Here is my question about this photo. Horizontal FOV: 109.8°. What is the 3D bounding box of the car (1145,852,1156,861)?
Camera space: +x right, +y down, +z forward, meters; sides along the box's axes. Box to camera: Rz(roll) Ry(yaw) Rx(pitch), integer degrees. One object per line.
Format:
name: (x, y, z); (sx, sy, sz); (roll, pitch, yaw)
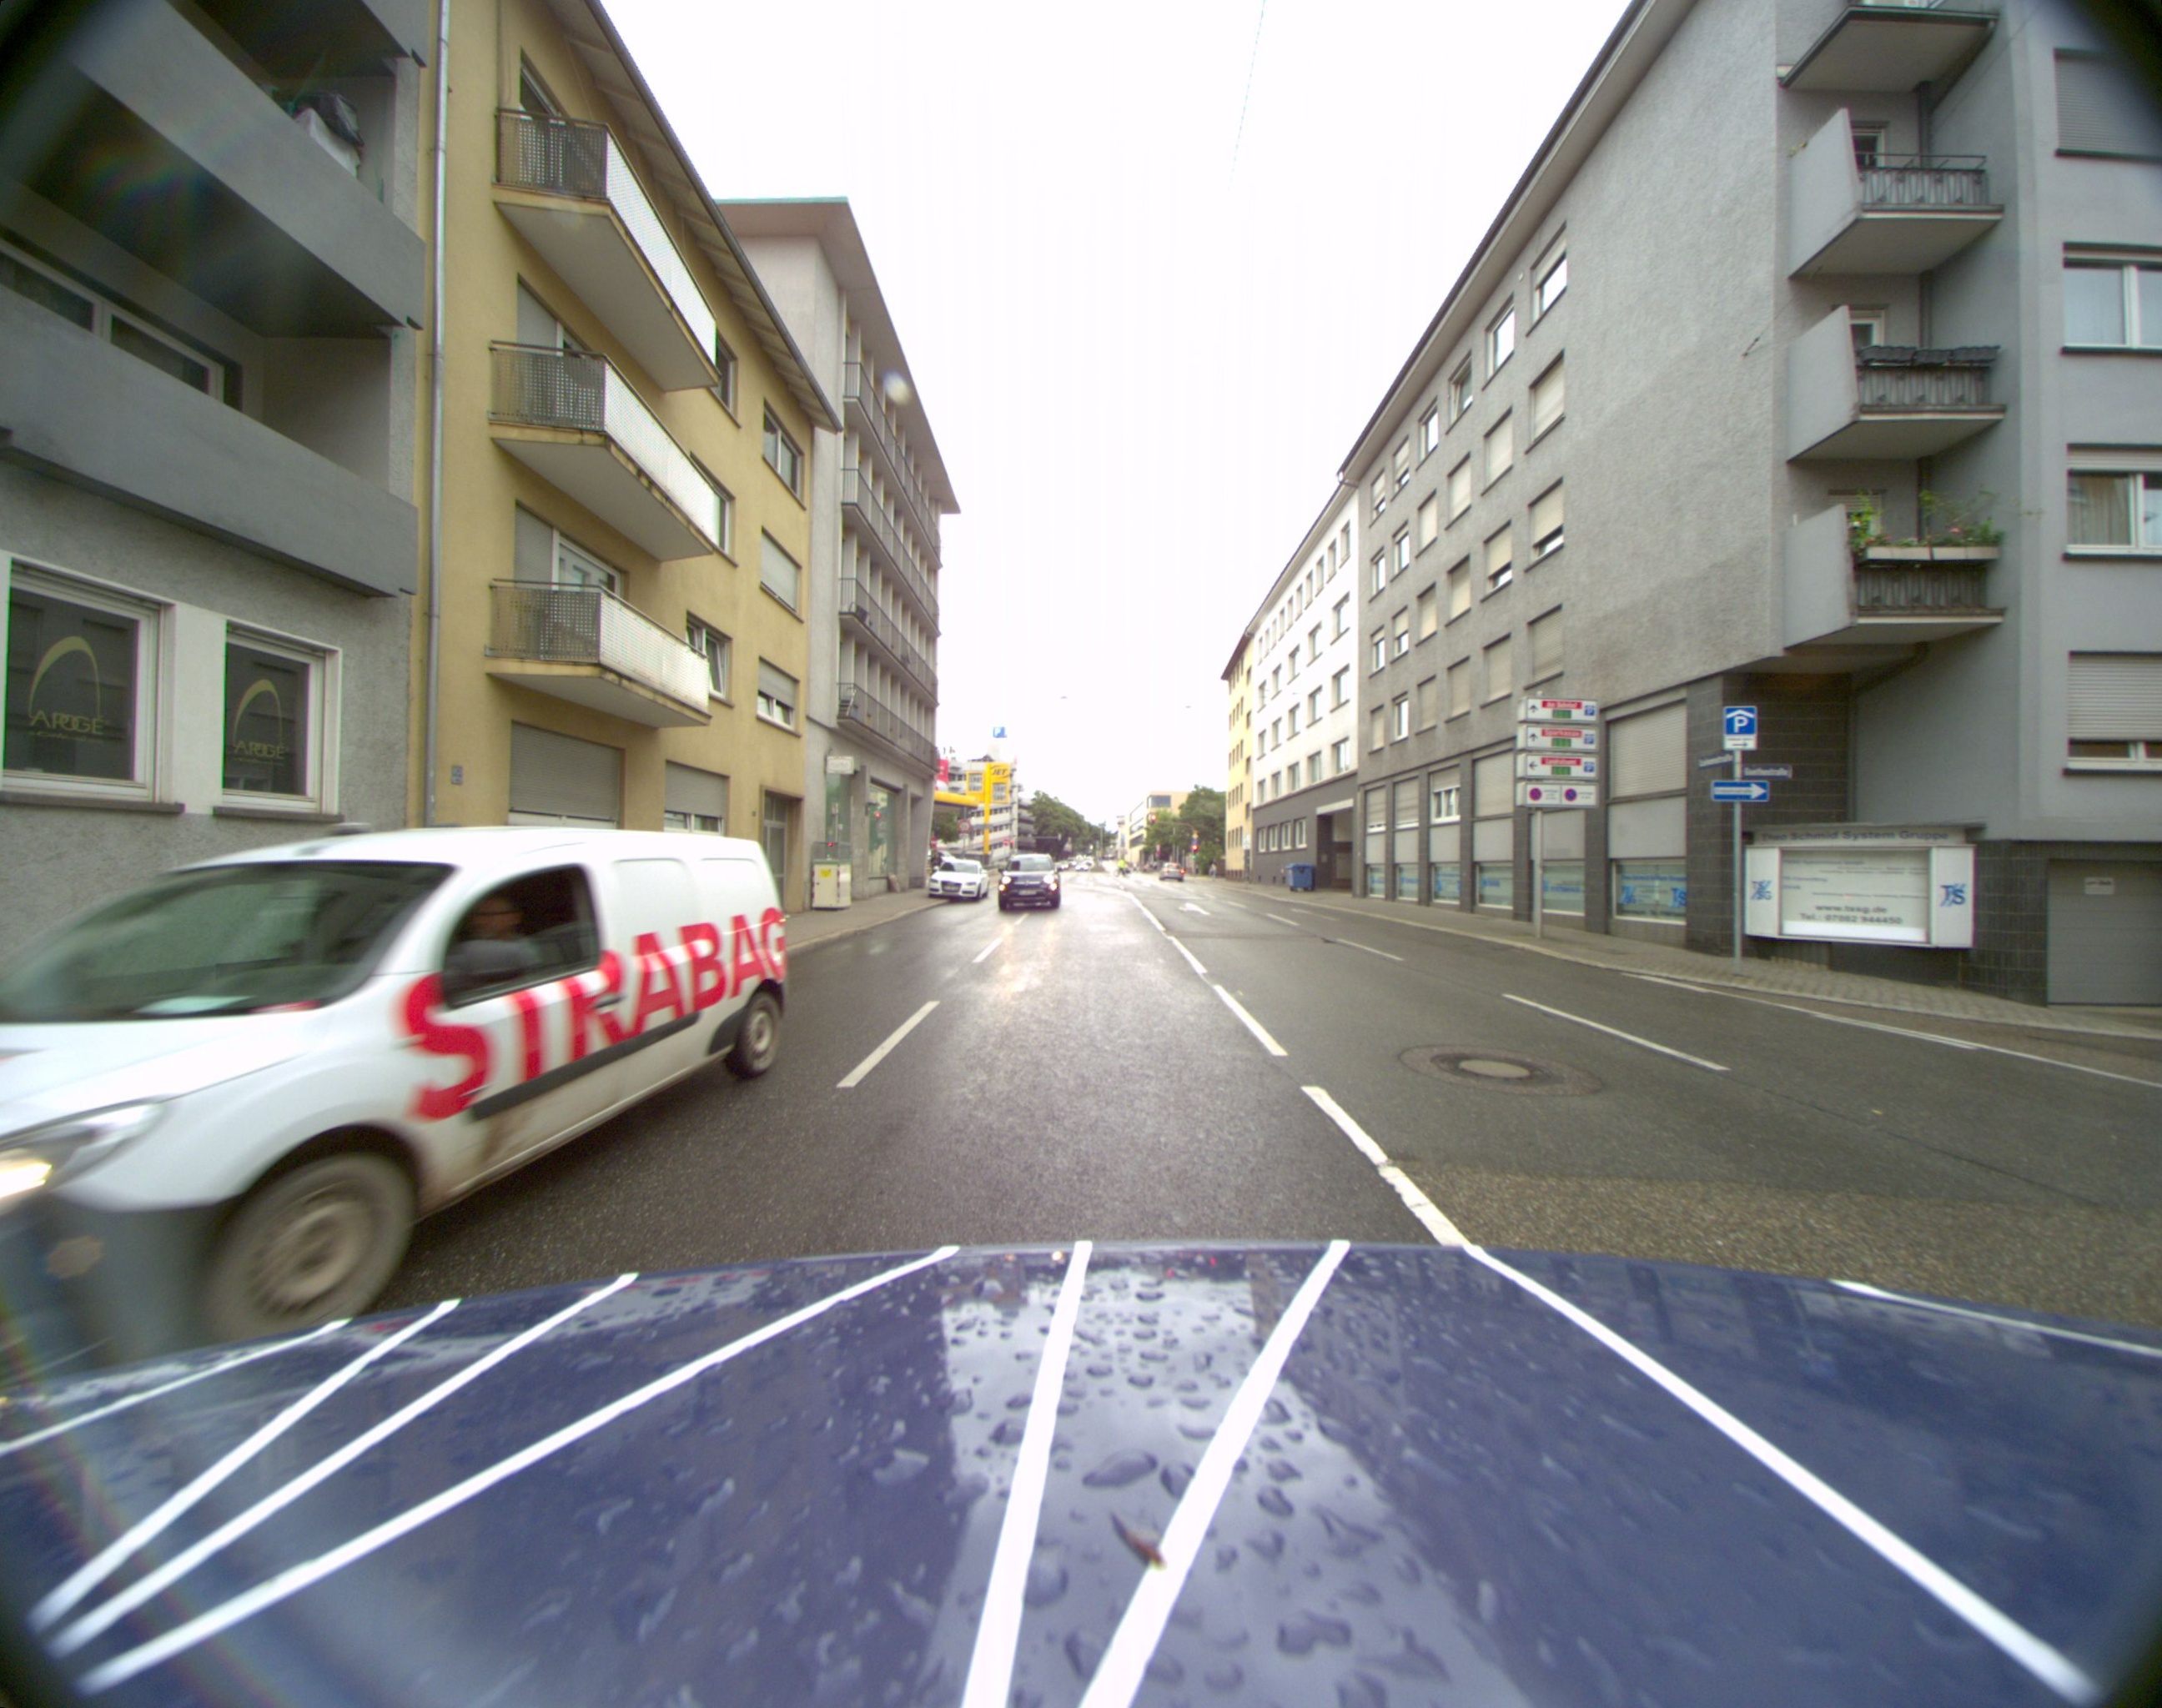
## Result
car: (15.517, 0.641, 169.209); (1.998, 1.863, 3.999); (-2, 1, 1)

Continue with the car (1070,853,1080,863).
car: (-1.245, 0.874, 164.938); (1.998, 2.002, 3.999); (-2, 1, 1)

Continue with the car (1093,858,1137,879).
car: (3.094, 1.285, 69.557); (3.929, 1.706, 1.902); (-3, 0, 2)

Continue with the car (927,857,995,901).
car: (-4.367, 0.882, 28.232); (1.803, 1.427, 4.166); (1, 0, 1)

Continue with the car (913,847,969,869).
car: (-10.130, 0.288, 54.891); (3.989, 1.465, 1.775); (-2, 1, 40)

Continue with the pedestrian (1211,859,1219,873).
pedestrian: (10.747, 0.959, 61.031); (0.582, 1.143, 0.407); (3, 1, 15)

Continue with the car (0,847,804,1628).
car: (-3.337, 0.879, 3.771); (1.945, 1.764, 4.747); (-2, 0, 3)

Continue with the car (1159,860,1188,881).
car: (7.434, 1.287, 61.292); (1.883, 1.580, 4.373); (0, 0, 1)

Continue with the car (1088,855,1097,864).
car: (2.586, 1.185, 170.924); (1.998, 1.736, 3.999); (-2, 1, 1)

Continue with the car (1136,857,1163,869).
car: (10.697, 1.378, 118.863); (3.995, 1.736, 2.000); (-2, 1, 5)

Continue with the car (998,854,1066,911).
car: (-1.424, 0.820, 23.628); (1.771, 1.571, 4.000); (-1, 0, 1)

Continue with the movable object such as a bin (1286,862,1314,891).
movable object such as a bin: (10.359, 1.061, 35.971); (0.946, 1.325, 1.096); (-3, 1, 1)

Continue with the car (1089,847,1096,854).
car: (3.588, -1.107, 234.899); (1.998, 2.002, 3.999); (-2, 1, 1)

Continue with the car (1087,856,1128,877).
car: (2.516, 1.186, 72.063); (3.794, 1.823, 1.692); (-3, 0, 2)

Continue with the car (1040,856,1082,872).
car: (-1.927, 0.974, 73.794); (3.996, 1.499, 1.738); (1, 0, 2)

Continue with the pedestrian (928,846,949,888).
pedestrian: (-6.084, 0.545, 32.512); (0.679, 1.745, 0.888); (1, 1, 2)

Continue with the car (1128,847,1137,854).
car: (12.933, -0.970, 192.052); (1.998, 1.683, 4.000); (-2, 1, 2)

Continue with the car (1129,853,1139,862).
car: (12.151, 0.790, 173.427); (1.998, 1.683, 4.000); (-2, 1, 2)
